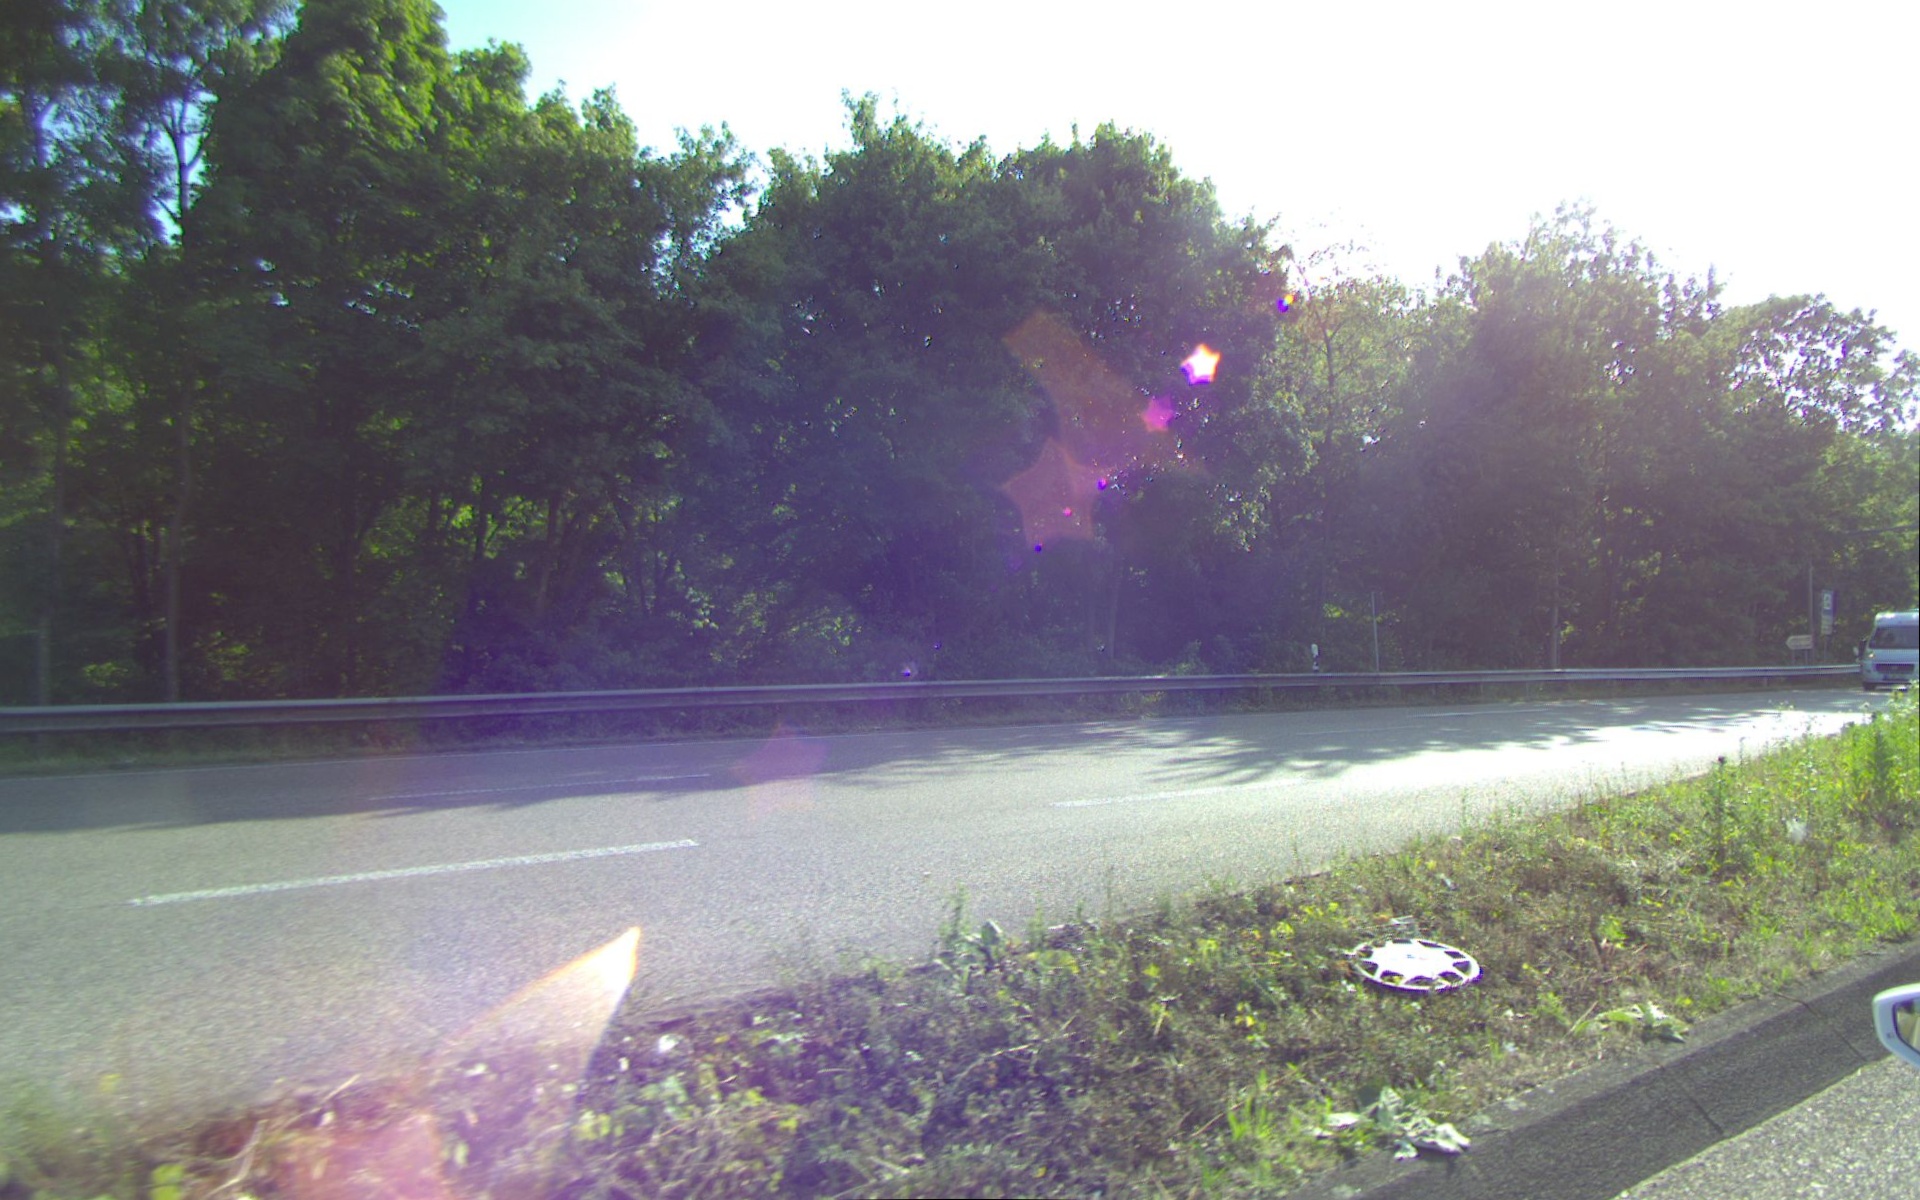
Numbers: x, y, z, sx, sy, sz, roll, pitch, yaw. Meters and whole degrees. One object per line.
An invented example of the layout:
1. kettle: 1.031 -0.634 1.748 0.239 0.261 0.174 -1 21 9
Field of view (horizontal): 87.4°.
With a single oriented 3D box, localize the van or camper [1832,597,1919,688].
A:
1. van or camper: 31.468 1.405 32.856 6.361 2.746 2.402 1 -4 -30
